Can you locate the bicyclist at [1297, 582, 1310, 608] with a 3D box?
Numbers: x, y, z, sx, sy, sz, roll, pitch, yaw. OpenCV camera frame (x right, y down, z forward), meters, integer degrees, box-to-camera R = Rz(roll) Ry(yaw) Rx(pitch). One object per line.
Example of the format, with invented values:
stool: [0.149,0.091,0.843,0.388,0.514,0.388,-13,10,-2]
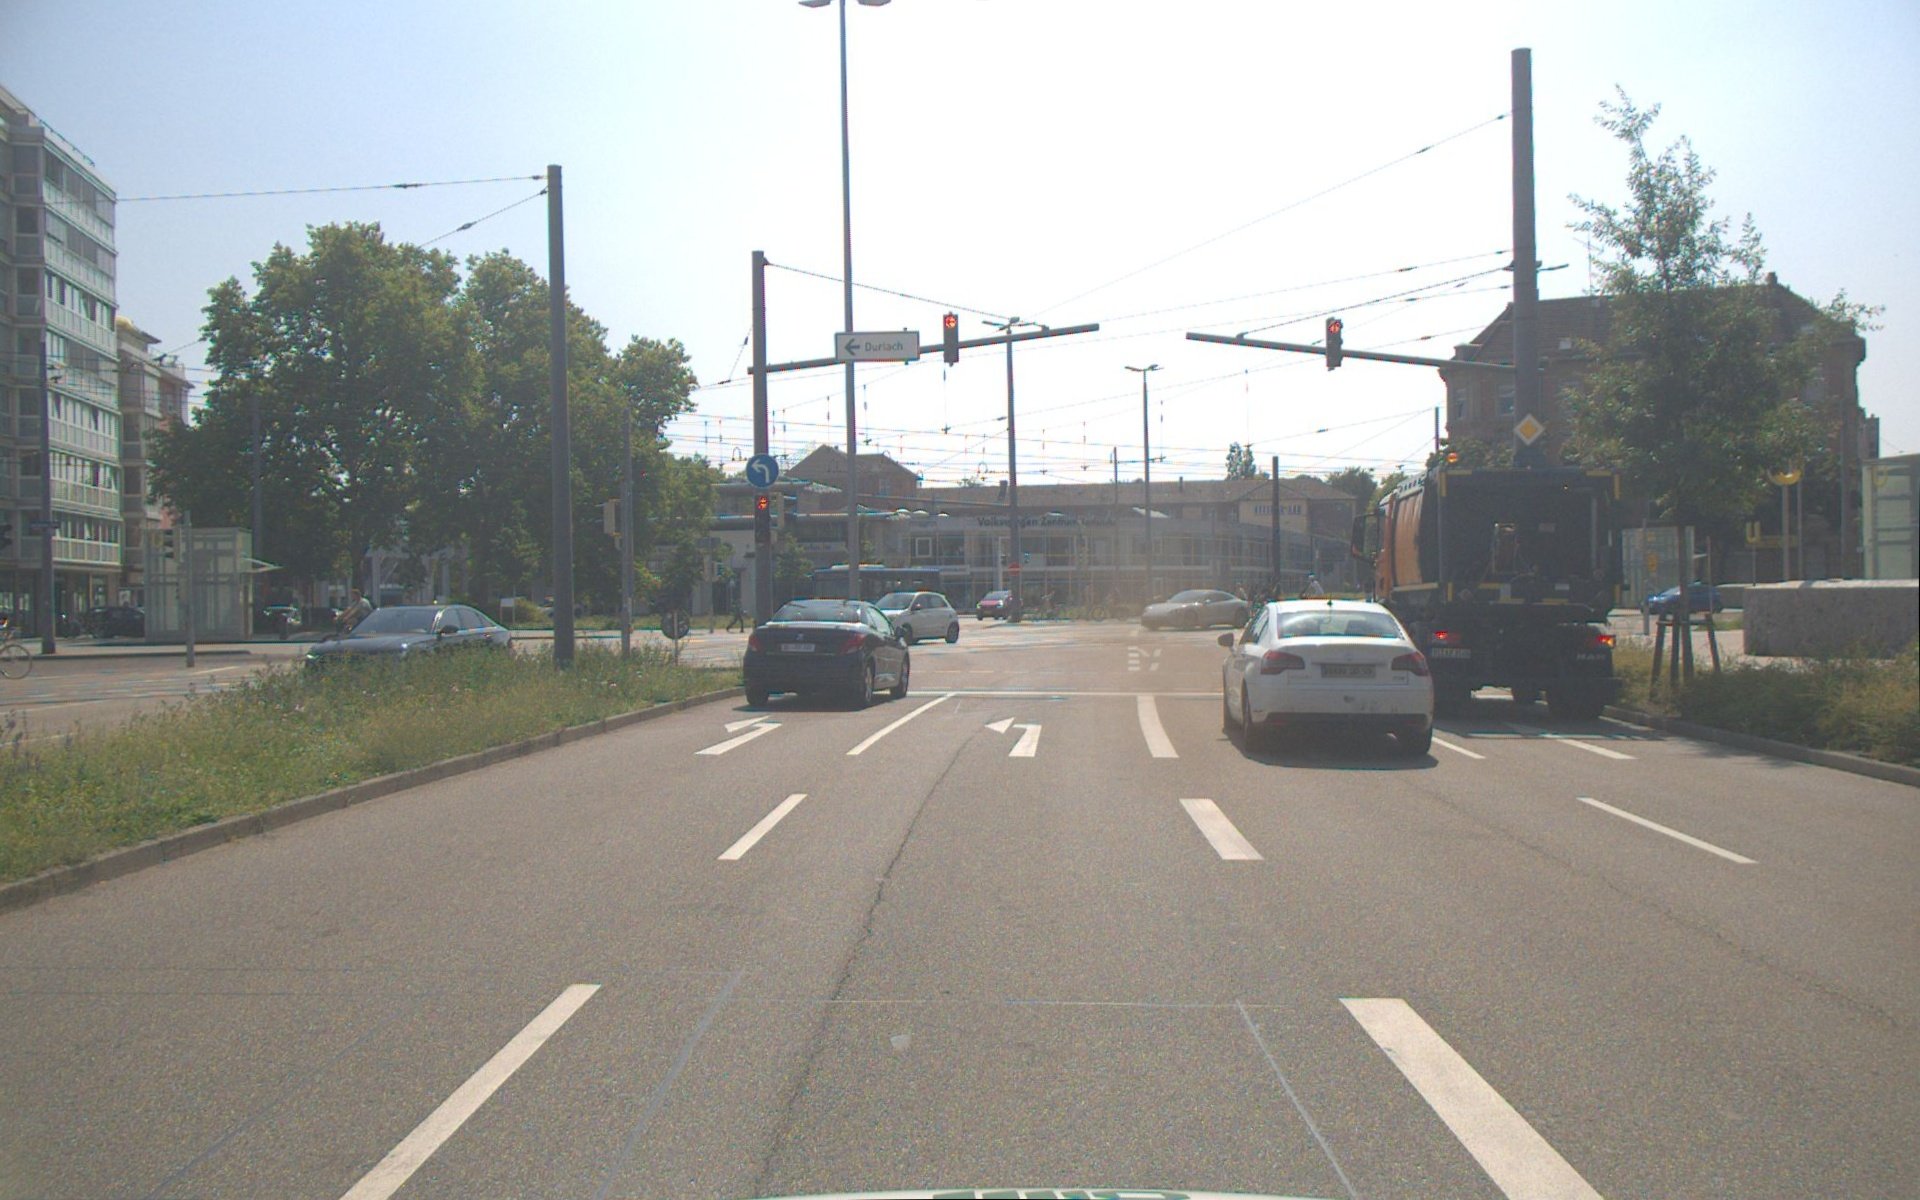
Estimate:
bicyclist: [16.267,-0.233,78.386,0.493,1.209,0.507,-1,0,21]

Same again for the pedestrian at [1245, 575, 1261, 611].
pedestrian: [14.788,-0.358,83.452,0.609,1.782,0.627,-1,0,-4]

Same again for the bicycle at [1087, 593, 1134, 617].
bicycle: [7.290,0.248,80.051,2.157,1.106,0.761,-1,0,-11]

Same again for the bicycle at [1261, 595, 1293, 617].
bicycle: [15.429,0.286,80.516,1.575,1.002,0.501,-1,0,-32]

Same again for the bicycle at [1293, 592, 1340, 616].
bicycle: [16.129,0.192,74.878,1.940,1.036,0.714,-1,0,-6]

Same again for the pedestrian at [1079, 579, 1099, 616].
pedestrian: [6.330,-0.140,81.211,0.767,1.782,0.809,-1,0,20]

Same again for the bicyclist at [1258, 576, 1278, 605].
bicyclist: [15.232,-0.469,81.835,0.658,1.374,0.707,-1,0,-20]

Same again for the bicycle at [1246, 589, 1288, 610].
bicycle: [15.191,-0.025,81.819,1.949,1.036,0.710,-1,0,-21]

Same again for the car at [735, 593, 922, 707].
car: [-1.730,0.629,23.057,1.720,1.429,3.984,0,0,9]

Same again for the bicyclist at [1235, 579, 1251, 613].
bicyclist: [12.657,-0.183,73.891,0.650,1.535,0.715,-1,0,7]

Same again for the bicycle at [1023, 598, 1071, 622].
bicycle: [4.172,0.478,79.034,2.160,1.106,0.760,-1,0,-14]

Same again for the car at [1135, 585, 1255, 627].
car: [8.610,0.206,60.422,4.550,1.424,1.915,-1,0,-43]

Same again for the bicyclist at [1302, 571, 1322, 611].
bicyclist: [15.934,-0.394,74.855,0.690,1.794,0.714,-1,0,-6]

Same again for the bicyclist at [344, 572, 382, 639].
bicyclist: [-14.957,0.136,41.431,0.680,1.678,0.616,-1,0,40]

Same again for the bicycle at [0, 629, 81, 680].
bicycle: [-19.073,1.113,33.268,2.367,0.970,0.602,-1,0,-13]

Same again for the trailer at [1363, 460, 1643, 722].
trailer: [7.128,-0.138,22.542,2.410,3.060,6.330,0,0,7]

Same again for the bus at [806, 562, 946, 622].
bus: [-4.297,-0.467,88.849,2.990,2.982,11.854,-1,0,21]

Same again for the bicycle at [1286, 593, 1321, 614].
bicycle: [16.264,0.172,78.387,1.558,1.002,0.507,-1,0,21]

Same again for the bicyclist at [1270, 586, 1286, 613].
bicyclist: [15.496,-0.019,80.563,0.588,1.269,0.501,-1,0,-32]

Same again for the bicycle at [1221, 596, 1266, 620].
bicycle: [12.674,0.350,73.895,1.936,1.036,0.715,-1,0,7]

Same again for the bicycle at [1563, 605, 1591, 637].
bicycle: [16.640,0.560,44.582,0.660,0.790,2.128,-1,0,22]

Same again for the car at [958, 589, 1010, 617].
car: [1.327,0.158,88.978,1.692,1.444,3.842,-1,0,19]

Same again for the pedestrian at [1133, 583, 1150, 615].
pedestrian: [8.992,-0.040,81.962,0.624,1.588,0.745,-1,0,-11]

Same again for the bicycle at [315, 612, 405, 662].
bicycle: [-14.991,0.912,41.374,0.685,1.156,2.033,-1,0,40]

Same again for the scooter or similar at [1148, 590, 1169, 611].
scooter or similar: [9.860,0.030,82.130,0.821,0.991,0.790,-1,0,-12]

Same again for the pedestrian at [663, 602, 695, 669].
pedestrian: [-5.661,0.709,33.323,0.585,1.290,0.503,-1,2,-14]

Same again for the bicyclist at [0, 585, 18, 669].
bicyclist: [-19.478,0.552,33.176,0.824,1.671,0.605,-1,0,-13]

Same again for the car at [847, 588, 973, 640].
car: [-1.429,0.404,49.154,1.739,1.450,4.055,-1,0,33]

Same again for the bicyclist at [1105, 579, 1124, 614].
bicyclist: [7.481,-0.185,80.092,0.748,1.662,0.761,-1,0,-11]

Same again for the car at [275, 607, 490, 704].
car: [-9.561,0.869,27.801,1.733,1.435,4.768,-1,0,3]

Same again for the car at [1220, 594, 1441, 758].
car: [3.736,0.687,17.344,1.720,1.480,4.428,0,0,5]

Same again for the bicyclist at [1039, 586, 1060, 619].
bicyclist: [4.260,0.108,79.059,0.784,1.568,0.760,-1,0,-14]
